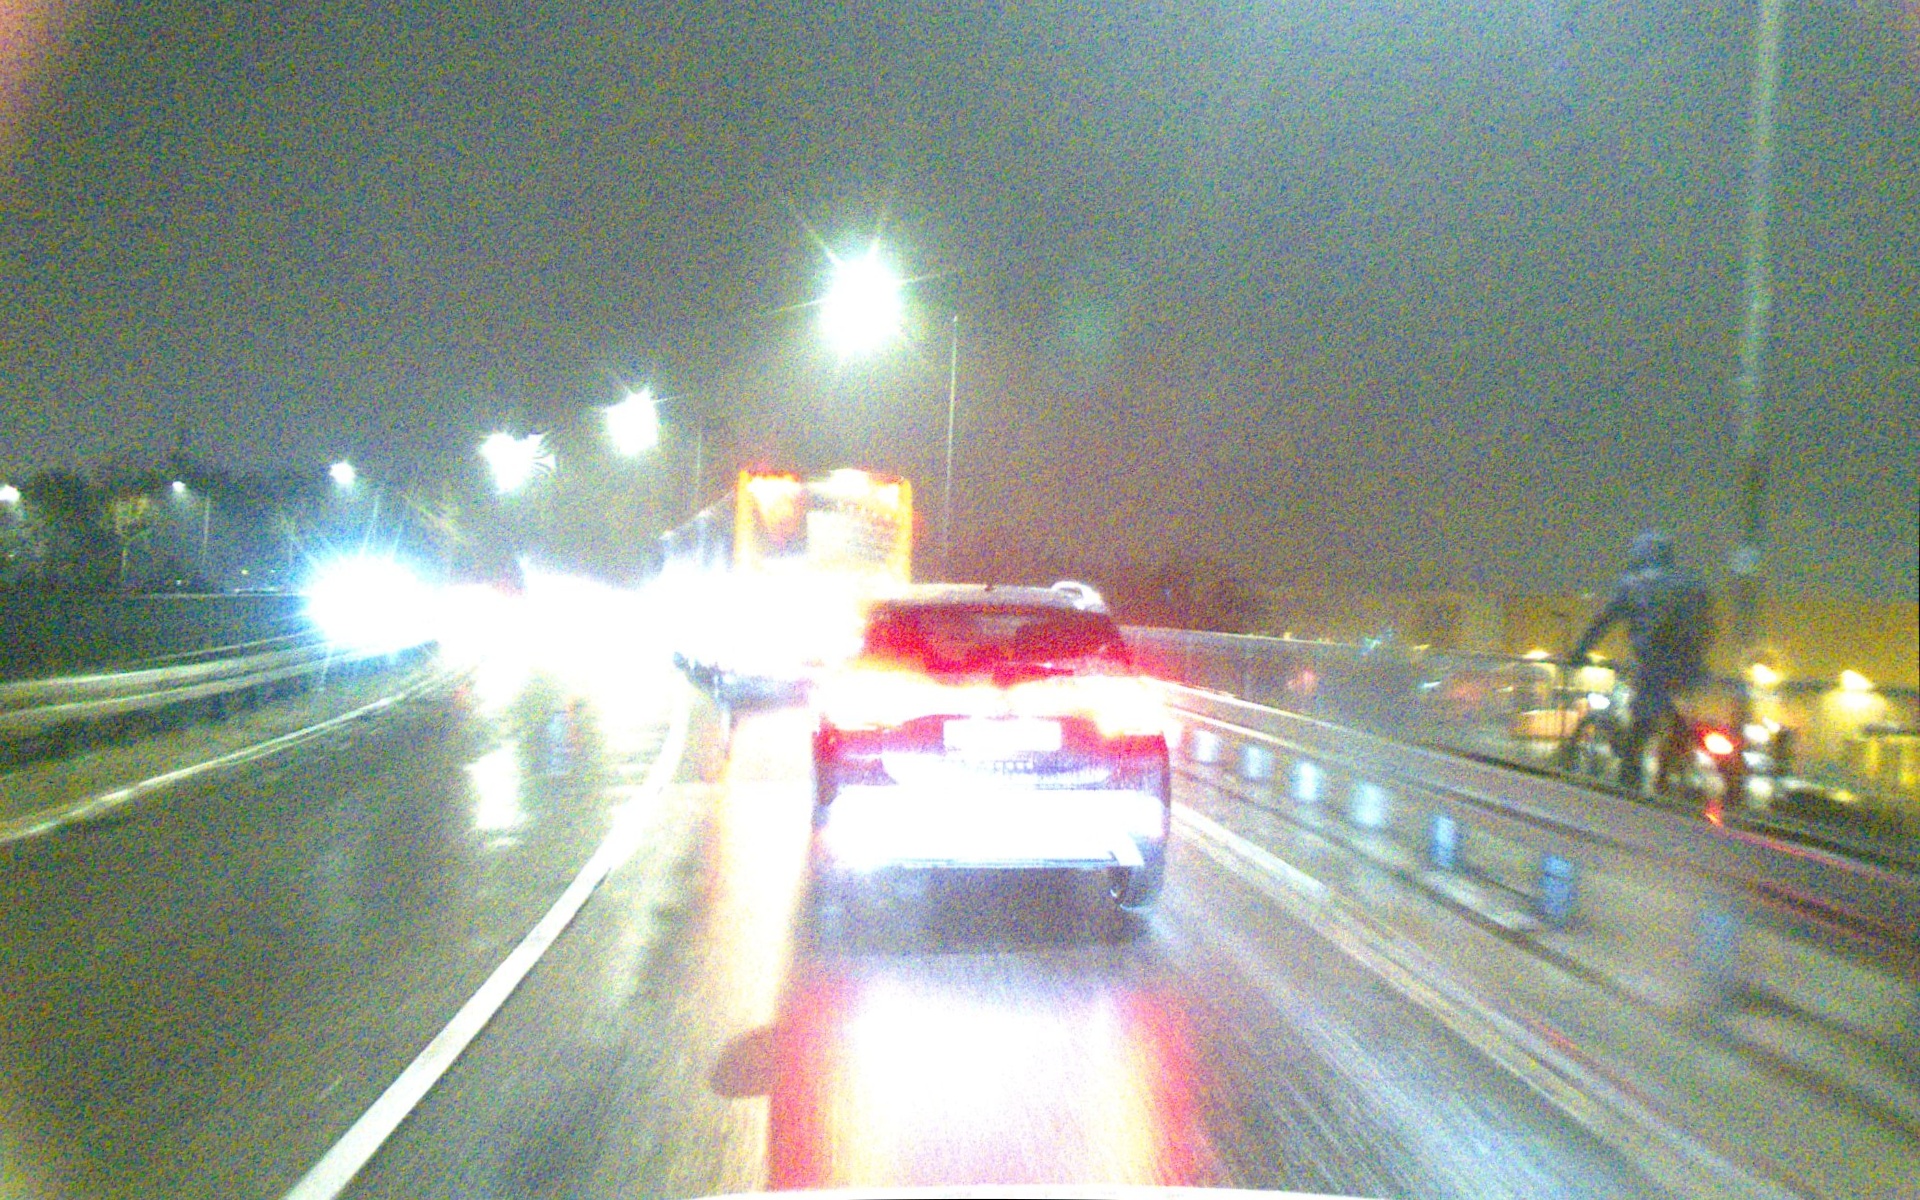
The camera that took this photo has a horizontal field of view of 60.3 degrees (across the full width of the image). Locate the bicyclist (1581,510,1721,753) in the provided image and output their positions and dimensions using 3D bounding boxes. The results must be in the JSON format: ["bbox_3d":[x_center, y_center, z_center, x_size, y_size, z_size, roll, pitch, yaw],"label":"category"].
[{"bbox_3d":[4.076,0.179,9.796,0.443,1.373,0.764,1,0,-4],"label":"bicyclist"}]

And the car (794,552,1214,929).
[{"bbox_3d":[0.035,0.625,9.169,1.819,1.614,3.996,1,0,-5],"label":"car"}]

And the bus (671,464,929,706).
[{"bbox_3d":[-3.202,-0.234,28.369,3.029,3.187,12.658,0,0,-12],"label":"bus"}]

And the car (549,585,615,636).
[{"bbox_3d":[-13.539,0.407,59.167,1.615,1.685,3.681,1,-3,-24],"label":"car"}]

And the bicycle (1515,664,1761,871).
[{"bbox_3d":[4.063,0.957,10.099,0.475,1.052,2.170,1,0,-4],"label":"bicycle"}]
